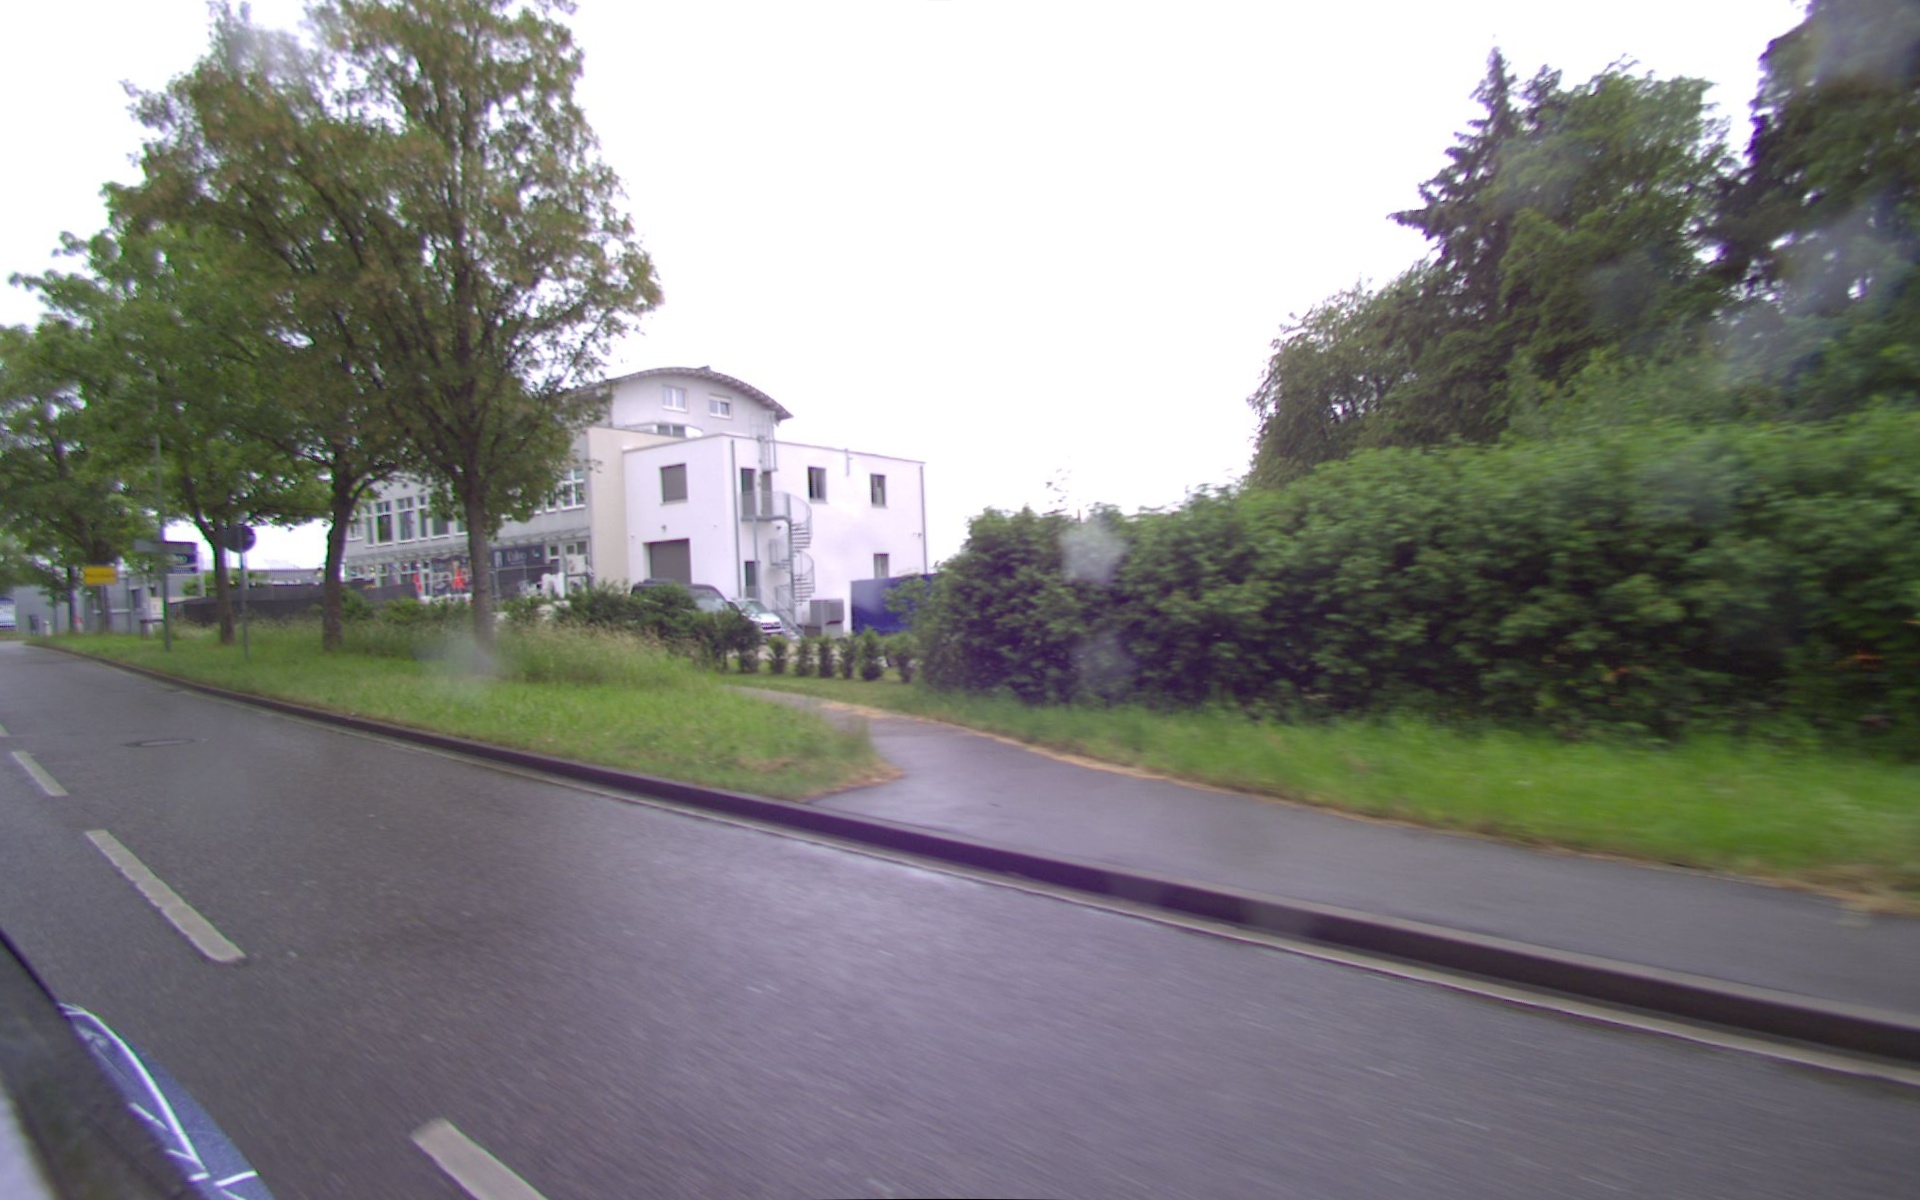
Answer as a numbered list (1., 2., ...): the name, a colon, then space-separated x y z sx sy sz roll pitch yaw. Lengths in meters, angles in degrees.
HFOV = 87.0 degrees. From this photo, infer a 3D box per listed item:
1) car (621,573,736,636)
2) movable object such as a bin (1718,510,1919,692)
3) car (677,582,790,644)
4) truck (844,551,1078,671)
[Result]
1. car: -11.943 0.107 42.731 5.223 1.929 1.887 10 7 38
2. movable object such as a bin: 11.584 -0.014 9.118 1.820 1.922 7.933 -1 0 -19
3. car: -9.899 0.477 43.993 5.223 1.929 1.887 10 7 38
4. truck: -0.076 0.270 23.329 5.215 2.476 1.975 -2 0 38
